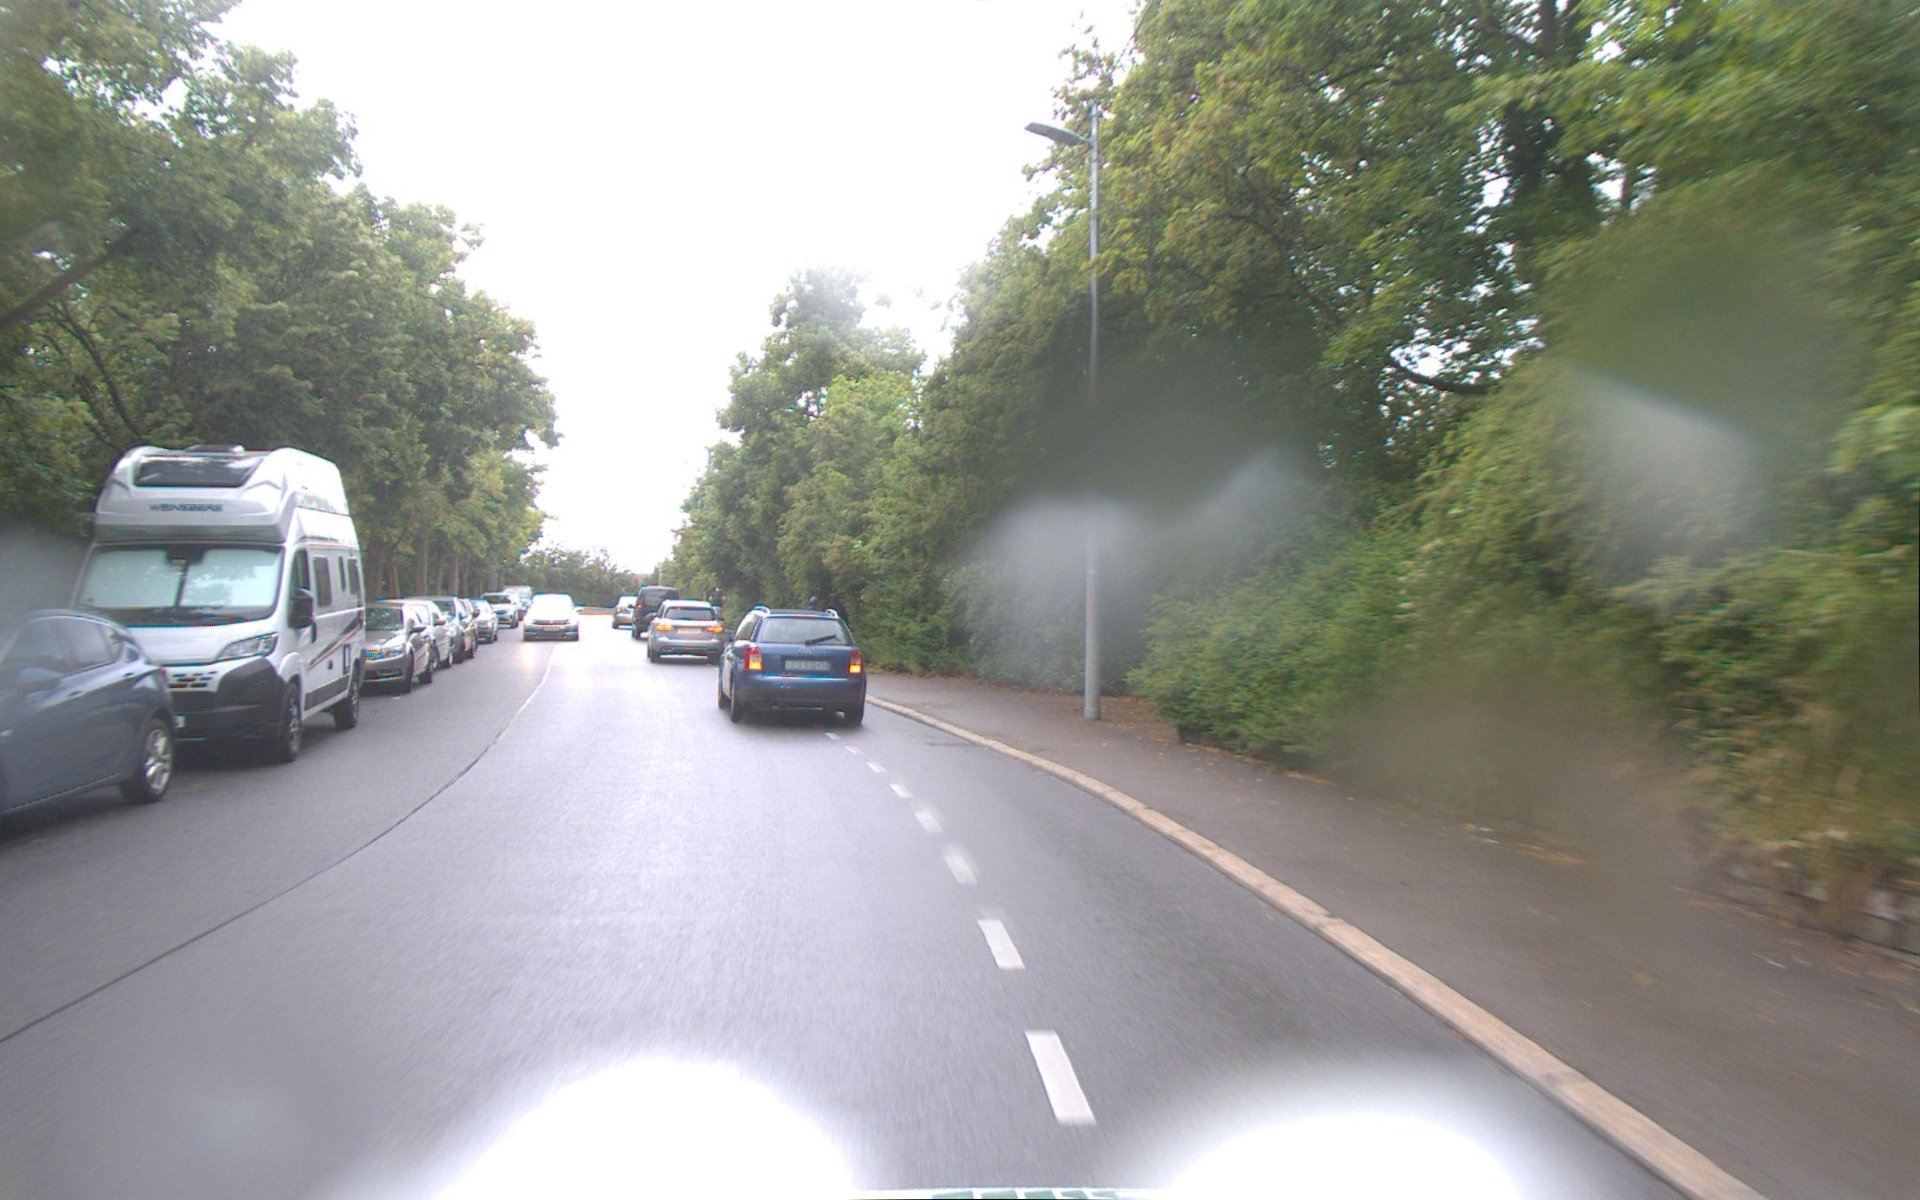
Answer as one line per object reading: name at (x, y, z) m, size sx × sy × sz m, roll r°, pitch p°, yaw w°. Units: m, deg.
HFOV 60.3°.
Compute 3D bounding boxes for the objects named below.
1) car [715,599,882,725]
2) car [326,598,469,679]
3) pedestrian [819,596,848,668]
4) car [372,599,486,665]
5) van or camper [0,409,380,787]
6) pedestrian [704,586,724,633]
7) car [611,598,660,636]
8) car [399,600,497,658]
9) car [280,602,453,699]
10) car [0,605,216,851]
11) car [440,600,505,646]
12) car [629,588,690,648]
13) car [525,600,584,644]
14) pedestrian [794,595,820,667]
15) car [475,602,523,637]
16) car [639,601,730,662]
car at (-2.263, 0.771, 22.313) m, size 1.717 × 1.432 × 3.987 m, roll 2°, pitch 1°, yaw -13°
car at (-11.319, 0.723, 33.599) m, size 1.957 × 1.429 × 4.704 m, roll -1°, pitch 1°, yaw -9°
pedestrian at (-2.821, 0.704, 36.953) m, size 0.584 × 1.594 × 0.668 m, roll 1°, pitch 0°, yaw -9°
car at (-12.404, 0.726, 38.894) m, size 1.958 × 1.430 × 4.701 m, roll -1°, pitch 0°, yaw -11°
van or camper at (-7.693, -0.016, 16.914) m, size 2.462 × 3.079 × 6.540 m, roll -2°, pitch 0°, yaw -13°
pedestrian at (-9.918, 0.388, 66.703) m, size 0.704 × 1.867 × 1.018 m, roll -1°, pitch 0°, yaw -11°
car at (-14.562, 0.765, 74.033) m, size 1.793 × 1.645 × 3.767 m, roll 0°, pitch 0°, yaw -17°
car at (-13.587, 0.735, 44.113) m, size 1.958 × 1.430 × 4.701 m, roll -1°, pitch 0°, yaw -11°
car at (-9.837, 0.762, 27.808) m, size 1.958 × 1.332 × 5.340 m, roll -1°, pitch 1°, yaw -12°
car at (-6.736, 0.798, 10.927) m, size 1.916 × 1.433 × 4.204 m, roll -2°, pitch 0°, yaw -4°
car at (-15.600, 0.718, 53.075) m, size 1.724 × 1.427 × 4.404 m, roll 0°, pitch -1°, yaw -13°
car at (-10.819, 0.677, 59.312) m, size 1.759 × 1.987 × 3.983 m, roll -2°, pitch -1°, yaw -15°
car at (-13.692, 0.718, 55.952) m, size 1.851 × 1.427 × 4.241 m, roll 0°, pitch -1°, yaw -13°
pedestrian at (-3.424, 0.691, 36.913) m, size 0.542 × 1.594 × 0.486 m, roll 0°, pitch 0°, yaw -9°
car at (-19.942, 0.825, 71.668) m, size 1.659 × 1.463 × 4.244 m, roll 0°, pitch -1°, yaw -11°
car at (-6.812, 0.740, 40.610) m, size 1.859 × 1.413 × 3.984 m, roll 1°, pitch 0°, yaw -15°
